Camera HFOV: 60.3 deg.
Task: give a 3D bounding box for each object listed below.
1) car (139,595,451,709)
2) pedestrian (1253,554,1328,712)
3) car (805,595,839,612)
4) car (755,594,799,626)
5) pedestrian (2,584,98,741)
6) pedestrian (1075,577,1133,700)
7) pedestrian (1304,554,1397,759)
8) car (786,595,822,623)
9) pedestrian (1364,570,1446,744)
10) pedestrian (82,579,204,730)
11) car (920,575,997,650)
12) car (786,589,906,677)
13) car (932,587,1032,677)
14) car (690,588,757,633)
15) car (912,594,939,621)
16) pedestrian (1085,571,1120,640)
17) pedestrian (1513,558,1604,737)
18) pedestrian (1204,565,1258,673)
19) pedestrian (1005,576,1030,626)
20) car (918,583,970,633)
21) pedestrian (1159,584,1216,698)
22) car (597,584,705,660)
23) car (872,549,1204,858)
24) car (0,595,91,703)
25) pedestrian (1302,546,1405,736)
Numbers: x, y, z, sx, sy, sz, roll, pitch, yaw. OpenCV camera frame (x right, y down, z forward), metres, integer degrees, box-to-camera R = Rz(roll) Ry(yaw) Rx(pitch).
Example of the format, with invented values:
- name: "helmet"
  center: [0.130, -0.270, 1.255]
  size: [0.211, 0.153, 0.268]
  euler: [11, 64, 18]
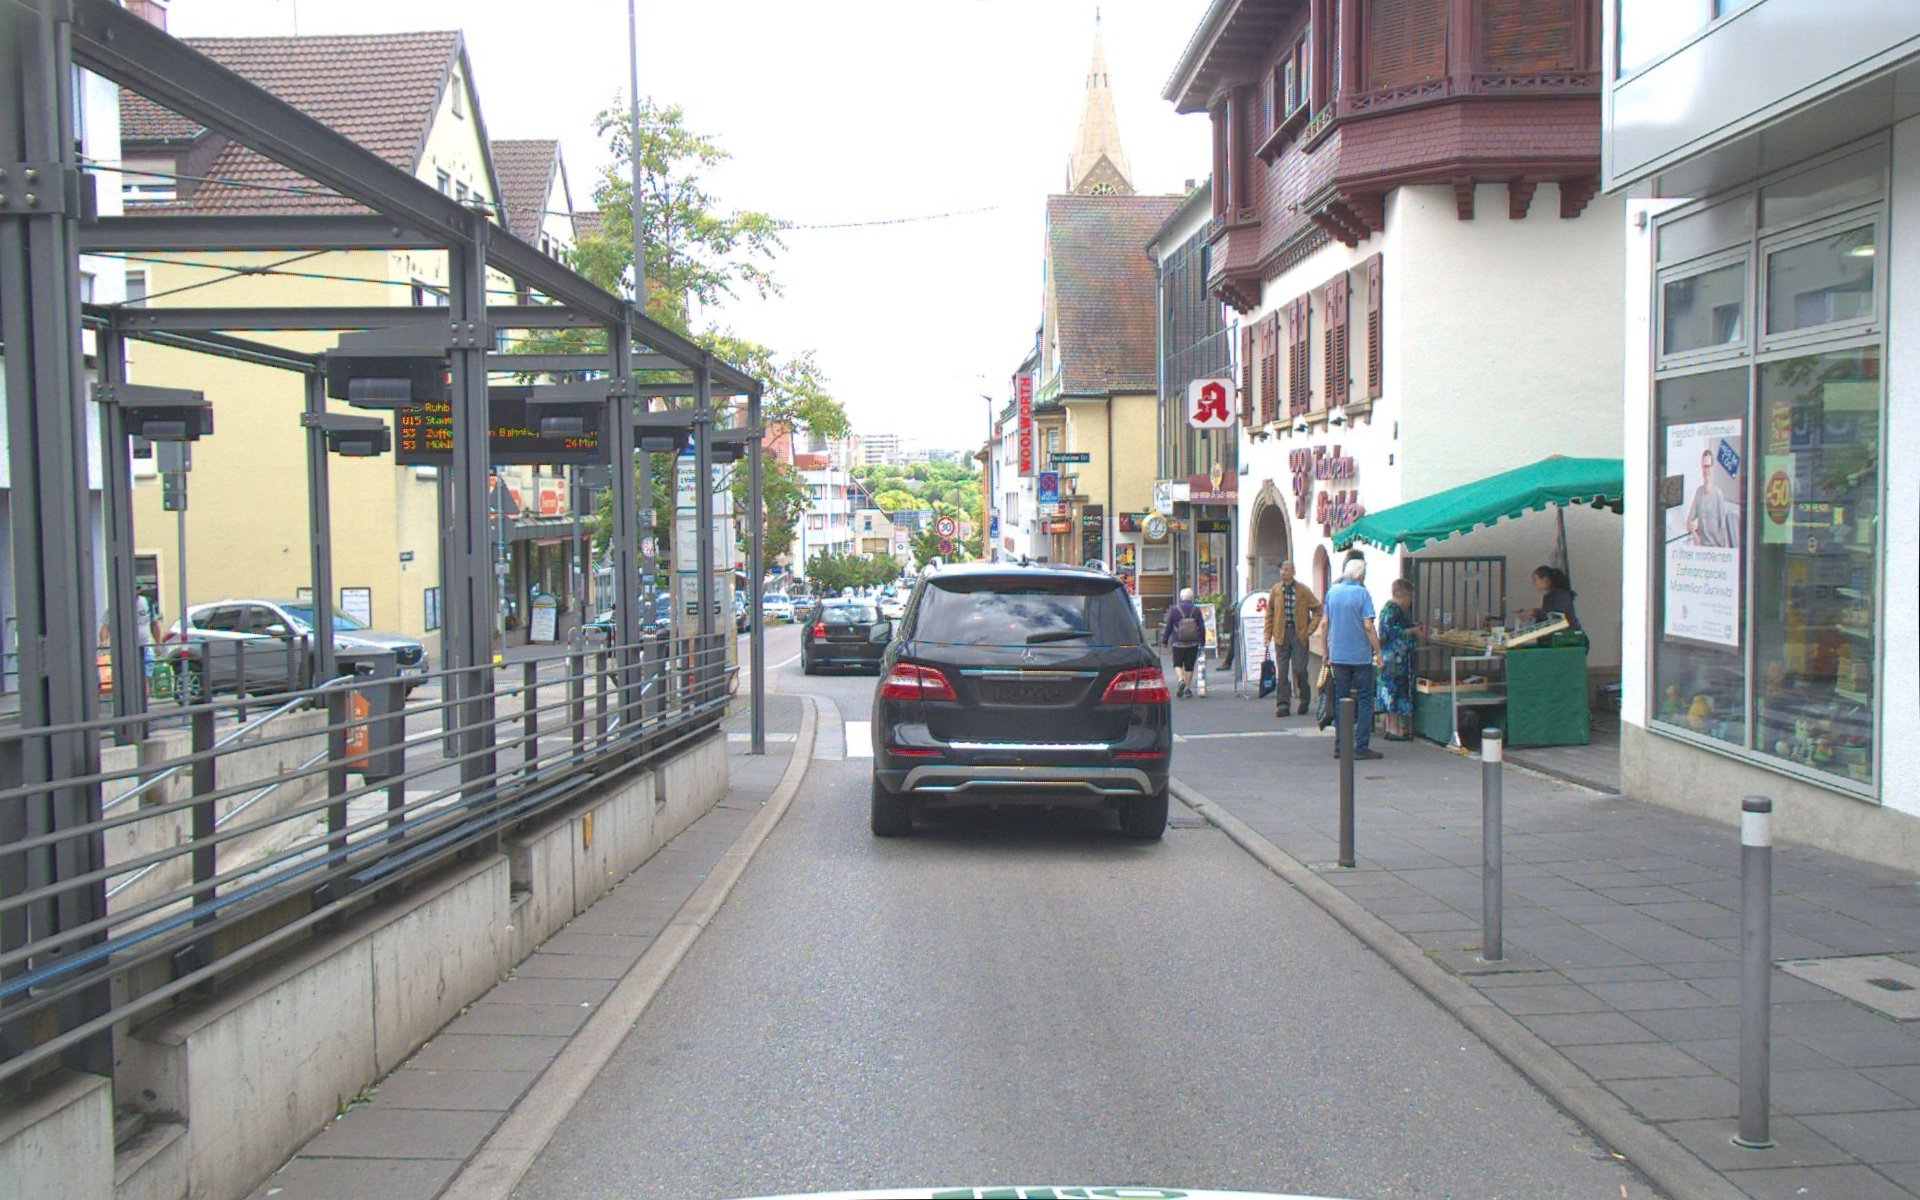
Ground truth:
- name: "car"
  center: [-10.465, 0.867, 26.131]
  size: [4.249, 1.650, 1.970]
  euler: [-2, -4, 16]
- name: "pedestrian"
  center: [3.902, 0.386, 19.591]
  size: [0.769, 1.833, 0.676]
  euler: [-1, 0, 4]
- name: "car"
  center: [-16.256, 0.426, 195.321]
  size: [3.910, 1.780, 1.998]
  euler: [-3, 0, -6]
- name: "car"
  center: [-9.030, 0.472, 81.812]
  size: [1.888, 1.538, 4.260]
  euler: [1, 0, -3]
- name: "pedestrian"
  center: [-10.610, 0.710, 19.301]
  size: [0.624, 1.769, 0.835]
  euler: [-2, 0, -4]
- name: "pedestrian"
  center: [2.016, 0.526, 23.188]
  size: [0.756, 1.674, 0.870]
  euler: [-1, 0, 4]
- name: "pedestrian"
  center: [3.537, 0.497, 14.972]
  size: [0.686, 1.797, 0.625]
  euler: [-1, 0, 24]
- name: "car"
  center: [-9.326, 0.550, 99.070]
  size: [1.888, 1.650, 4.637]
  euler: [0, -1, -3]
- name: "pedestrian"
  center: [4.301, 0.541, 16.025]
  size: [0.610, 1.641, 0.703]
  euler: [-1, 0, 4]
- name: "pedestrian"
  center: [-10.096, 0.657, 20.470]
  size: [0.897, 1.819, 0.988]
  euler: [-1, 0, 15]
- name: "car"
  center: [0.018, 0.277, 43.157]
  size: [1.838, 1.831, 4.733]
  euler: [-1, 0, 2]
- name: "car"
  center: [-2.283, 0.596, 32.374]
  size: [1.755, 1.567, 3.731]
  euler: [-1, 0, -13]
- name: "car"
  center: [0.370, 0.557, 31.646]
  size: [1.766, 1.582, 3.953]
  euler: [-1, 0, -1]
- name: "car"
  center: [-8.399, 0.349, 59.111]
  size: [1.888, 1.518, 4.840]
  euler: [1, 0, -3]
- name: "car"
  center: [-2.659, 0.525, 126.649]
  size: [1.899, 1.924, 4.705]
  euler: [-3, 0, -2]
- name: "pedestrian"
  center: [3.619, 0.135, 41.961]
  size: [0.845, 1.737, 0.945]
  euler: [-1, 0, 4]
- name: "pedestrian"
  center: [5.621, 0.434, 15.571]
  size: [0.610, 1.641, 0.703]
  euler: [-1, 0, 4]
- name: "pedestrian"
  center: [4.591, 0.319, 28.079]
  size: [0.758, 1.800, 0.817]
  euler: [-1, 0, 0]
- name: "pedestrian"
  center: [2.023, 0.041, 58.704]
  size: [0.780, 1.757, 1.052]
  euler: [-1, 0, -1]
- name: "car"
  center: [-0.563, 0.254, 58.645]
  size: [1.713, 1.636, 3.799]
  euler: [-3, 0, -1]
- name: "pedestrian"
  center: [3.160, 0.560, 23.040]
  size: [0.709, 1.558, 0.808]
  euler: [-1, 0, 4]
- name: "car"
  center: [-7.679, 0.503, 41.539]
  size: [1.966, 1.723, 4.606]
  euler: [1, 1, -2]
- name: "car"
  center: [0.424, 0.585, 11.678]
  size: [1.904, 1.770, 4.178]
  euler: [1, 0, -1]
- name: "car"
  center: [-19.039, 1.003, 31.081]
  size: [4.249, 1.837, 2.002]
  euler: [-3, 3, 3]
- name: "pedestrian"
  center: [4.033, 0.404, 16.950]
  size: [0.766, 1.889, 0.699]
  euler: [-1, 0, 41]
